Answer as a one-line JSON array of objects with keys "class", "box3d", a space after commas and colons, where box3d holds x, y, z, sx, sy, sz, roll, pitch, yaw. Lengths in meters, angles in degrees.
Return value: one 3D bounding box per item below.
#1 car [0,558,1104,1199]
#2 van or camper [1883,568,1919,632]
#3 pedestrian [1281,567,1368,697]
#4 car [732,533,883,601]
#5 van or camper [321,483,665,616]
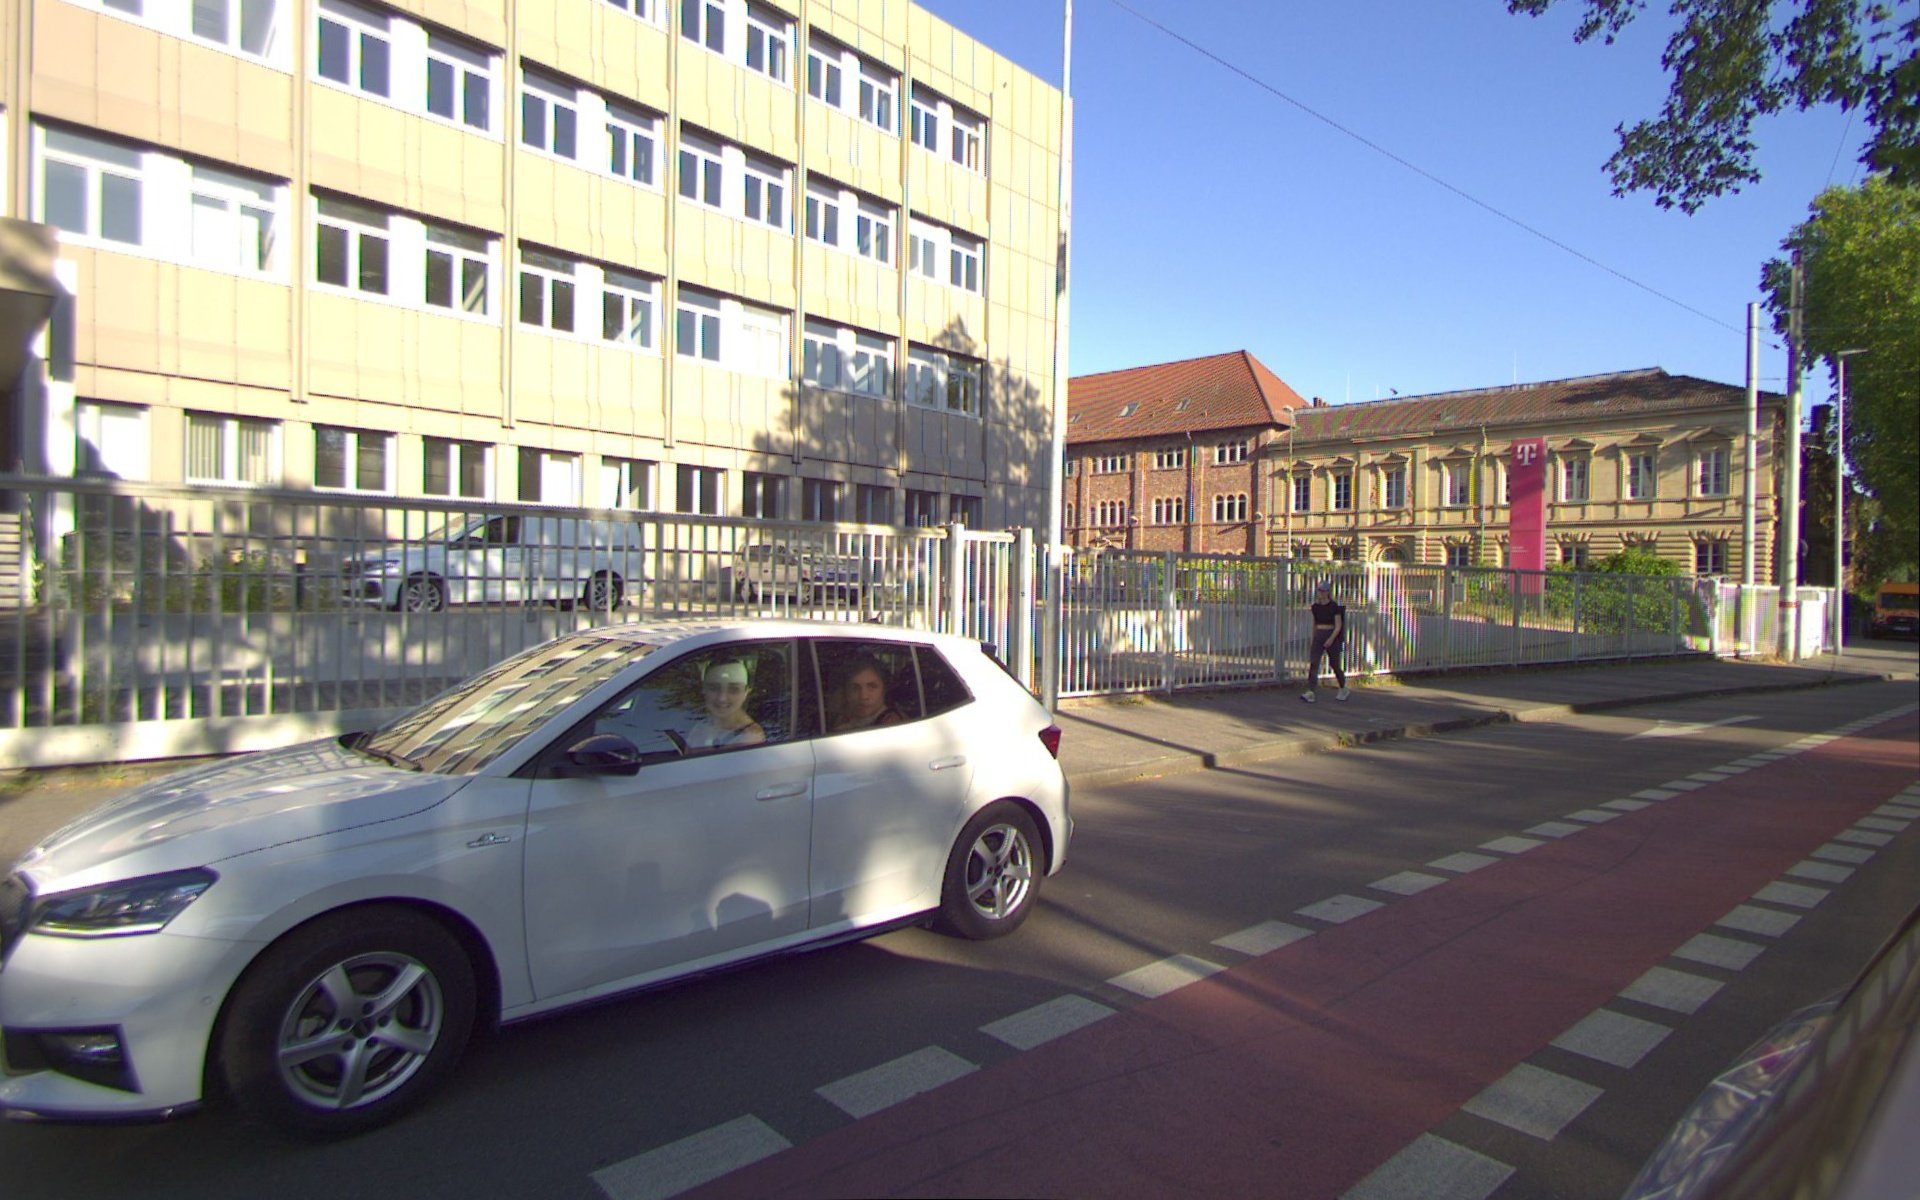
[{"class": "car", "box3d": [-1.348, 0.652, 4.225, 3.913, 1.520, 1.804, 0, 0, -43]}, {"class": "van or camper", "box3d": [41.048, 0.008, 43.223, 5.678, 2.591, 2.037, 0, 1, -44]}, {"class": "pedestrian", "box3d": [4.957, 0.413, 13.769, 0.913, 1.705, 0.698, 1, 1, -36]}, {"class": "car", "box3d": [-4.281, -0.902, 28.007, 4.253, 1.739, 1.962, 2, 1, 44]}, {"class": "van or camper", "box3d": [-7.735, -0.769, 17.167, 1.981, 1.932, 4.921, 3, 2, 43]}]
